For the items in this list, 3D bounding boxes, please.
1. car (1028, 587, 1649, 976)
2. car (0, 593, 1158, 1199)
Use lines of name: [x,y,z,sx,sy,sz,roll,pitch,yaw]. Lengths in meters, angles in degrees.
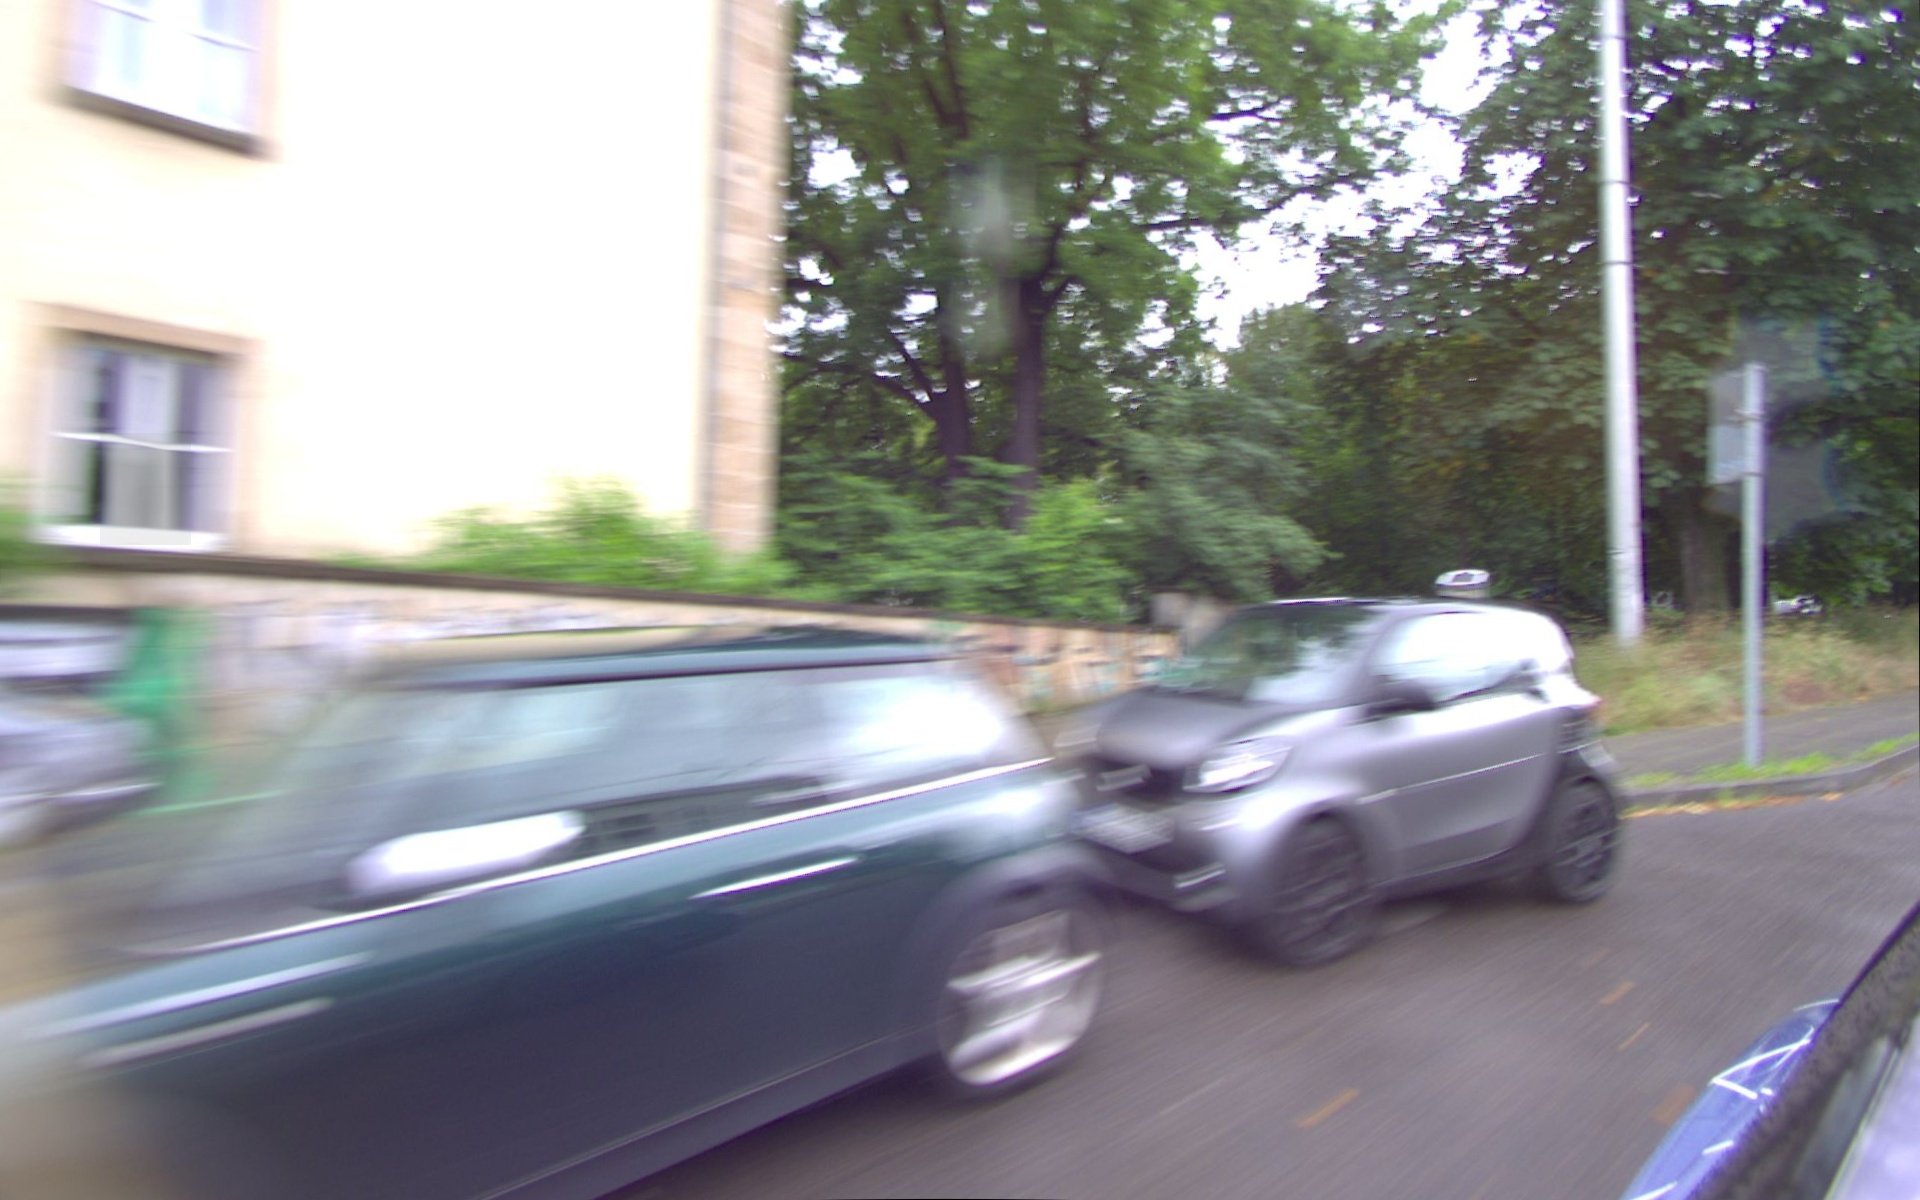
car: [1.909,0.691,5.199,2.665,1.484,1.605,0,0,-27]
car: [-1.167,0.710,2.814,3.581,1.434,1.538,0,1,-42]
